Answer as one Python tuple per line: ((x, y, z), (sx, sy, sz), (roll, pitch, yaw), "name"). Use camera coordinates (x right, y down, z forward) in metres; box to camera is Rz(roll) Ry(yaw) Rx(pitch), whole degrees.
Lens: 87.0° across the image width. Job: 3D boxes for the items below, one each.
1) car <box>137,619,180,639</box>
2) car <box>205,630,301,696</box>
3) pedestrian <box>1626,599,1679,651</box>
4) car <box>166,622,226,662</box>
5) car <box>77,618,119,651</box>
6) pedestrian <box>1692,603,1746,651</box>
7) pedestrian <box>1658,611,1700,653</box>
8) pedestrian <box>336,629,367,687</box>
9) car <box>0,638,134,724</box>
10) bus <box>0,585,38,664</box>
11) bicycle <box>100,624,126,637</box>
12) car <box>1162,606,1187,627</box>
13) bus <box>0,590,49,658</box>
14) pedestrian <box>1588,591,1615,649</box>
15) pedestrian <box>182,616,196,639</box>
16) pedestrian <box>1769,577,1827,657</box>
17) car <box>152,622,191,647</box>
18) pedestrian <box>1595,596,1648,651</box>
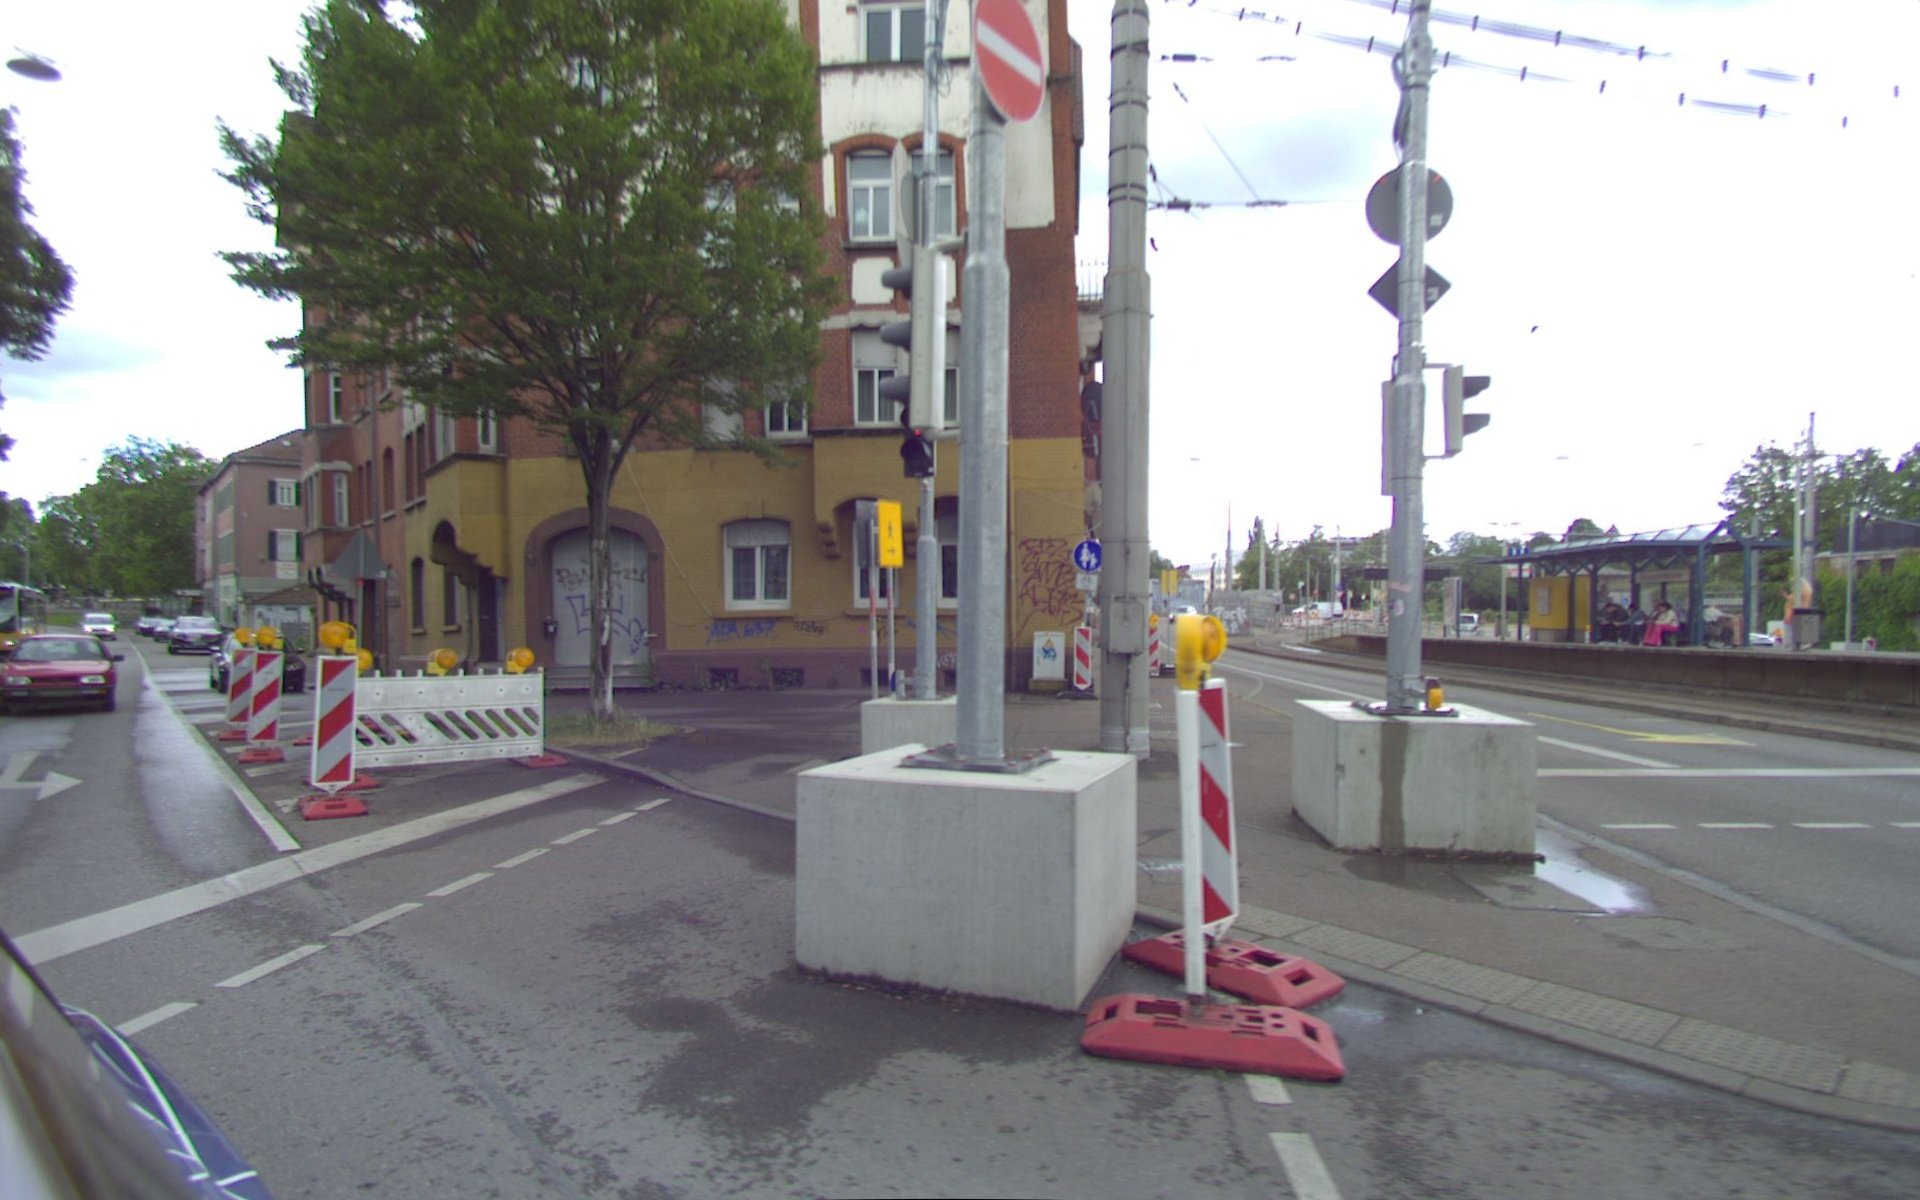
((-63.264, 2.282, 79.876), (4.919, 1.466, 1.809), (0, -1, 42), "car")
((-18.182, 1.590, 25.946), (1.703, 1.497, 4.398), (0, -3, -39), "car")
((17.247, 0.614, 25.224), (0.800, 1.279, 0.772), (1, 0, 7), "pedestrian")
((-34.974, 1.881, 46.280), (1.929, 1.747, 4.781), (1, -2, -40), "car")
((-57.482, 2.266, 67.543), (2.042, 1.798, 4.466), (-2, 4, -40), "car")
((18.293, 0.651, 24.404), (0.812, 1.131, 0.650), (1, 0, 7), "pedestrian")
((17.329, 0.761, 24.402), (0.655, 0.986, 0.513), (1, -2, 5), "pedestrian")
((-17.818, 1.685, 29.634), (0.651, 1.621, 0.633), (-2, -1, -40), "pedestrian")
((-17.054, 1.452, 19.125), (1.824, 1.433, 4.175), (3, -3, -45), "car")
((-41.885, 1.071, 43.669), (2.638, 3.162, 9.233), (-2, 0, -40), "bus")
((-81.152, 2.928, 97.005), (0.720, 1.185, 1.792), (0, 1, 24), "bicycle")
((20.106, 1.546, 94.857), (1.977, 1.674, 3.990), (1, 2, 9), "car")
((-48.071, 1.223, 51.086), (2.629, 3.160, 10.056), (-2, 0, -40), "bus")
((18.691, 0.573, 29.488), (0.587, 1.653, 0.482), (1, 0, -38), "pedestrian")
((-61.896, 2.212, 81.273), (0.752, 1.757, 0.985), (-2, -1, -43), "pedestrian")
((17.986, 0.361, 21.740), (0.769, 1.689, 0.540), (1, -2, 5), "pedestrian")
((-52.400, 2.266, 67.238), (1.855, 1.497, 4.134), (-2, 1, -40), "car")
((17.196, 0.598, 26.332), (0.812, 1.383, 0.934), (1, 0, 6), "pedestrian")
